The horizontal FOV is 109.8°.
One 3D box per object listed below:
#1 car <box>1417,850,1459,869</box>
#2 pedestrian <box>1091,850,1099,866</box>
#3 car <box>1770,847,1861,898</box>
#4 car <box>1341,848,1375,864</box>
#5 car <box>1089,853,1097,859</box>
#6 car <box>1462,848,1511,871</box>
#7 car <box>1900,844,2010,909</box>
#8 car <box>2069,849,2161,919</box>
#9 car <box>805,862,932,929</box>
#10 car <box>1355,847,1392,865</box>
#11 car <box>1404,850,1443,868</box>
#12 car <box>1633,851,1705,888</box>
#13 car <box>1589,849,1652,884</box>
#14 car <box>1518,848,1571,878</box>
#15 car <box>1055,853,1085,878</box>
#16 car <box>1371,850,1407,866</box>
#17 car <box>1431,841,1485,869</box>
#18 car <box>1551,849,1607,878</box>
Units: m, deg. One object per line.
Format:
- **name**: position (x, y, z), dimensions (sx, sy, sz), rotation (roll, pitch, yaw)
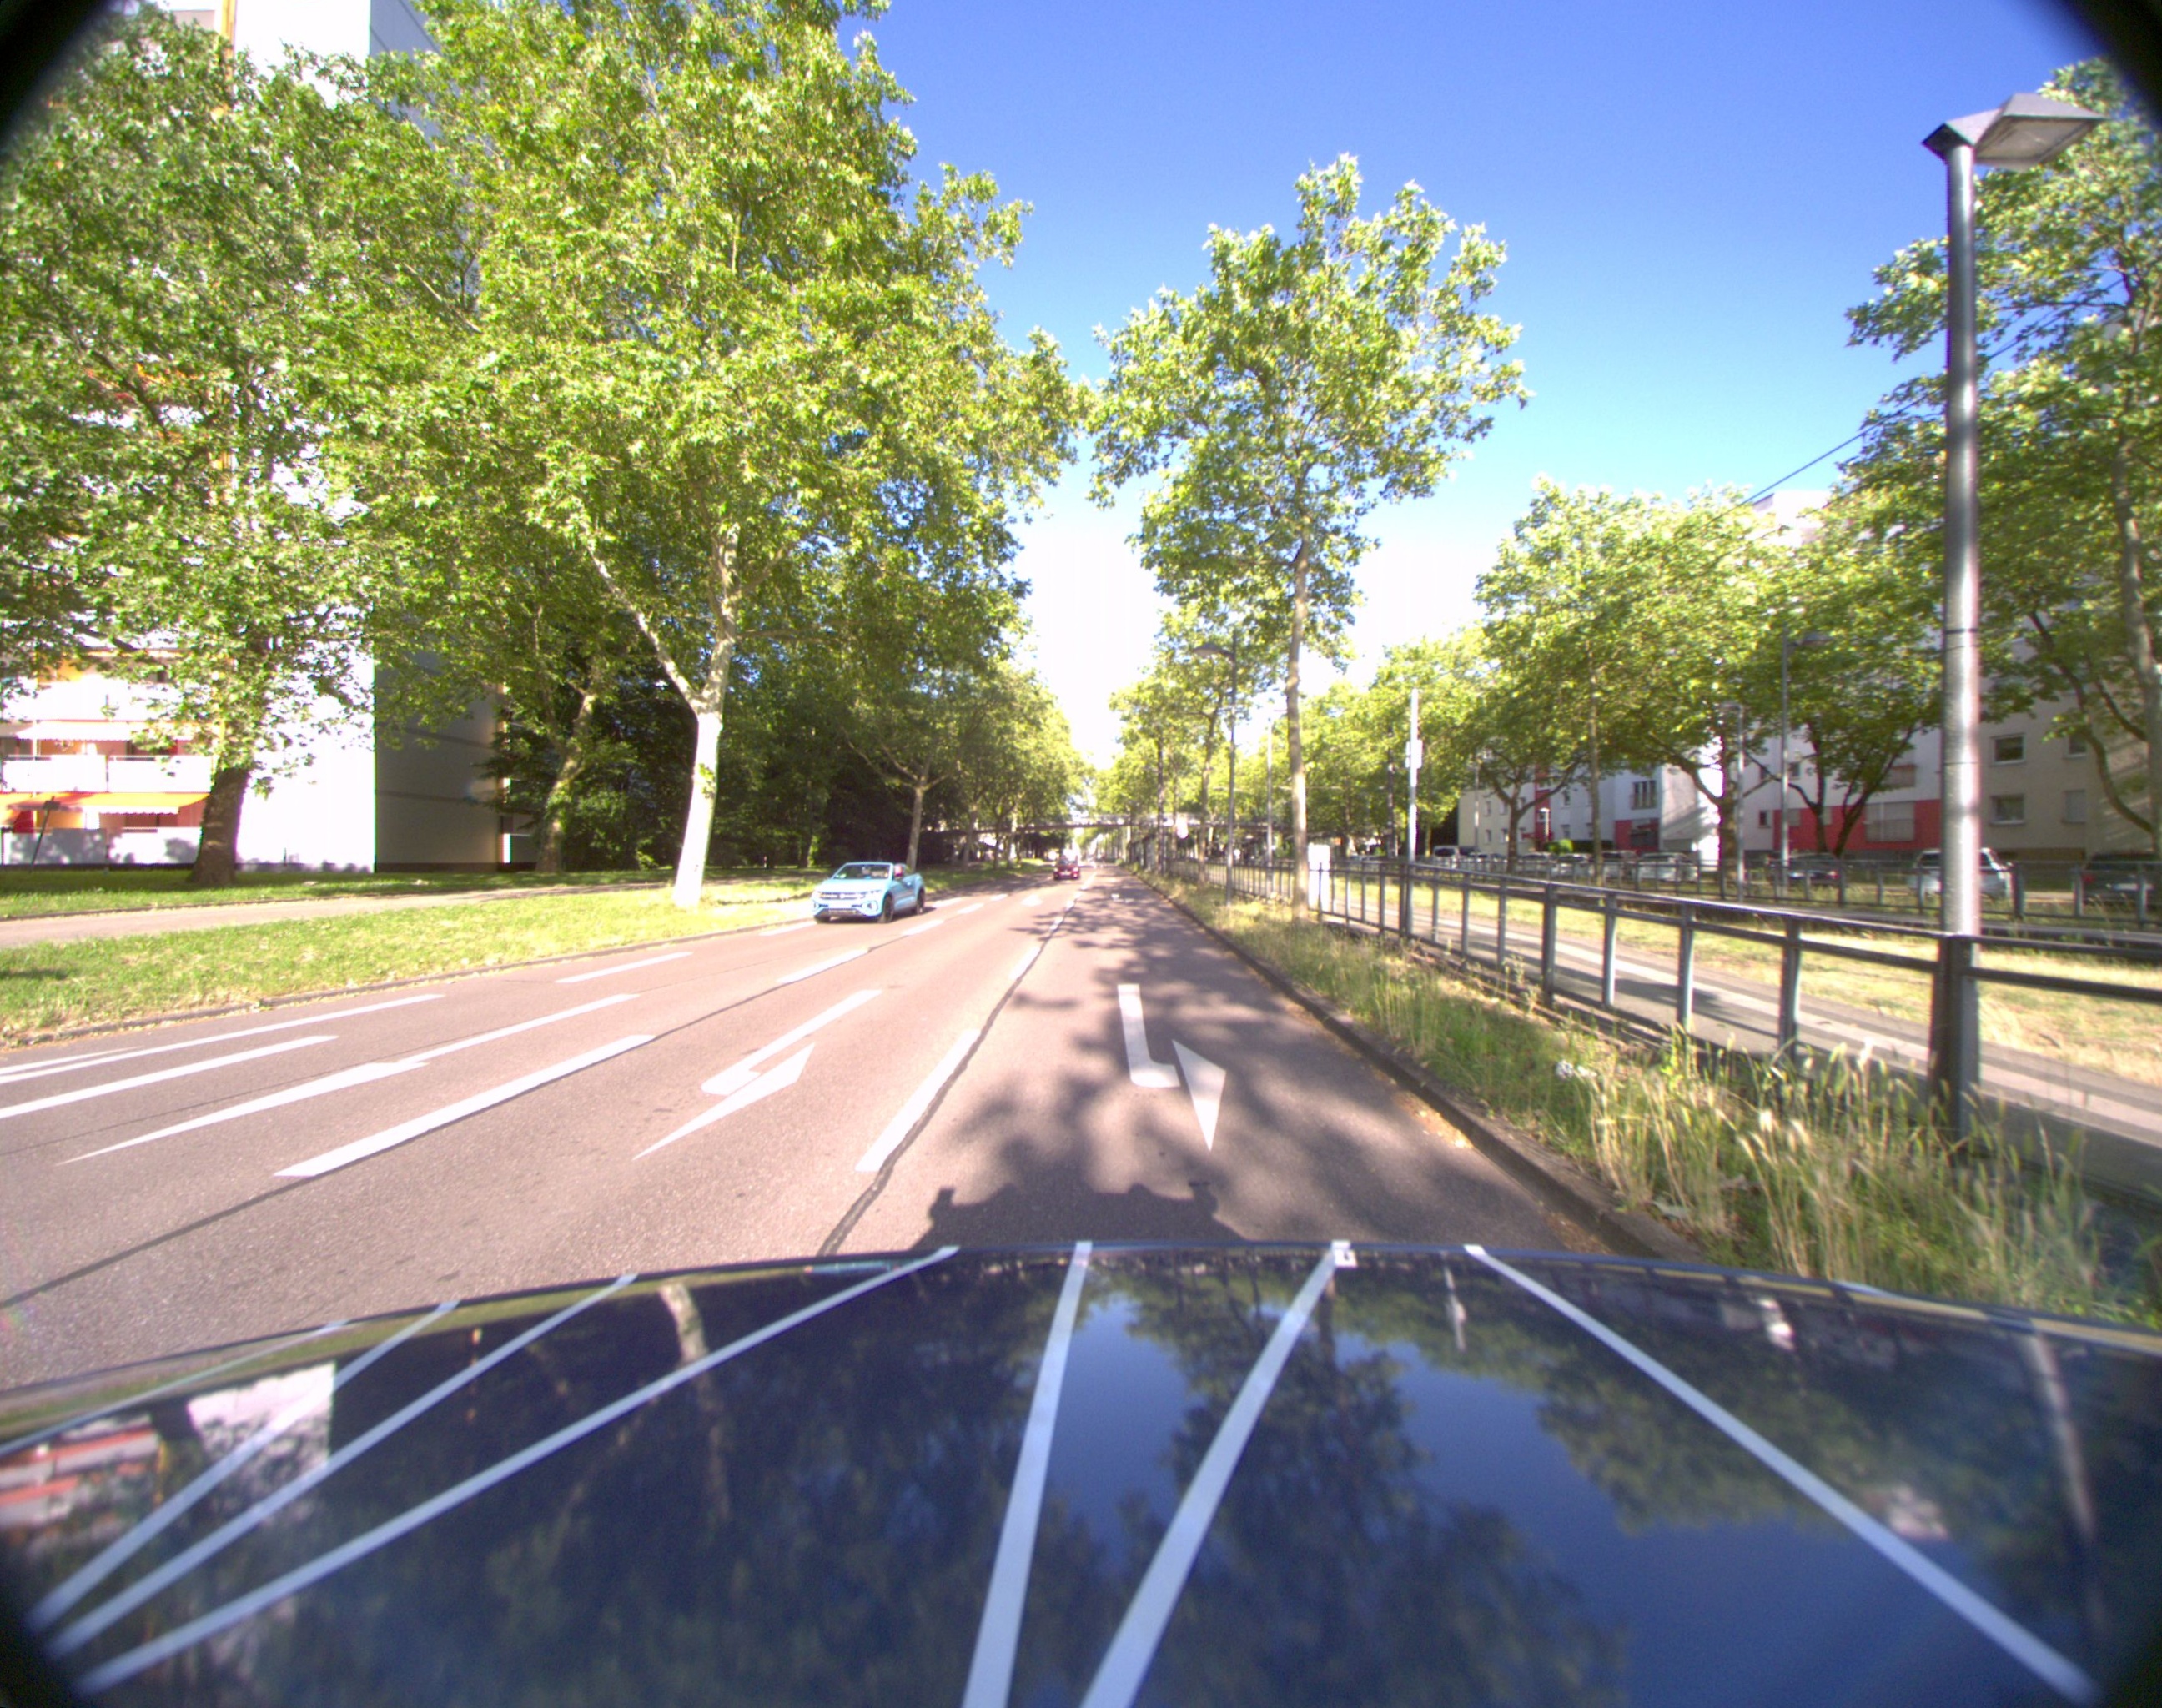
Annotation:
- **car**: position (26.061, 0.368, 55.446), dimensions (3.494, 1.336, 1.476), rotation (-1, 1, -41)
- **pedestrian**: position (1.748, 0.471, 97.846), dimensions (0.919, 2.002, 0.962), rotation (-2, 1, -1)
- **car**: position (25.133, 0.584, 25.969), dimensions (4.007, 1.479, 1.626), rotation (-3, 1, -37)
- **car**: position (27.229, 0.183, 74.596), dimensions (3.742, 1.517, 1.597), rotation (-1, 1, -43)
- **car**: position (3.098, 0.426, 195.738), dimensions (1.798, 1.465, 3.999), rotation (-2, 1, -1)
- **car**: position (26.244, 0.359, 49.106), dimensions (3.494, 1.395, 1.623), rotation (-1, 1, -41)
- **car**: position (25.324, 0.597, 21.985), dimensions (4.007, 1.586, 1.810), rotation (-3, 1, -37)
- **car**: position (25.127, 0.668, 18.326), dimensions (3.770, 1.420, 1.555), rotation (-3, 1, -37)
- **car**: position (-5.293, 0.983, 19.497), dimensions (1.737, 1.442, 4.133), rotation (-1, 1, 5)
- **car**: position (26.396, 0.188, 68.484), dimensions (3.835, 1.561, 1.597), rotation (-1, 1, -43)
- **car**: position (26.601, 0.380, 58.977), dimensions (3.494, 1.293, 1.476), rotation (-1, 1, -41)
- **car**: position (25.642, 0.656, 33.103), dimensions (3.890, 1.406, 1.486), rotation (-3, 1, -37)
- **car**: position (26.002, 0.559, 36.593), dimensions (3.402, 1.499, 1.461), rotation (-3, 1, -37)
- **car**: position (26.025, 0.495, 42.656), dimensions (3.494, 1.417, 1.558), rotation (-3, -1, -42)
- **car**: position (-0.688, 0.728, 48.797), dimensions (1.646, 1.430, 3.761), rotation (-2, 1, 3)
- **car**: position (26.441, 0.356, 65.223), dimensions (3.494, 1.312, 1.476), rotation (-1, 1, -41)
- **car**: position (25.938, 0.065, 52.221), dimensions (4.056, 1.802, 1.864), rotation (-1, 1, -41)
- **car**: position (26.124, 0.505, 39.822), dimensions (3.493, 1.321, 1.476), rotation (-3, 0, -41)
